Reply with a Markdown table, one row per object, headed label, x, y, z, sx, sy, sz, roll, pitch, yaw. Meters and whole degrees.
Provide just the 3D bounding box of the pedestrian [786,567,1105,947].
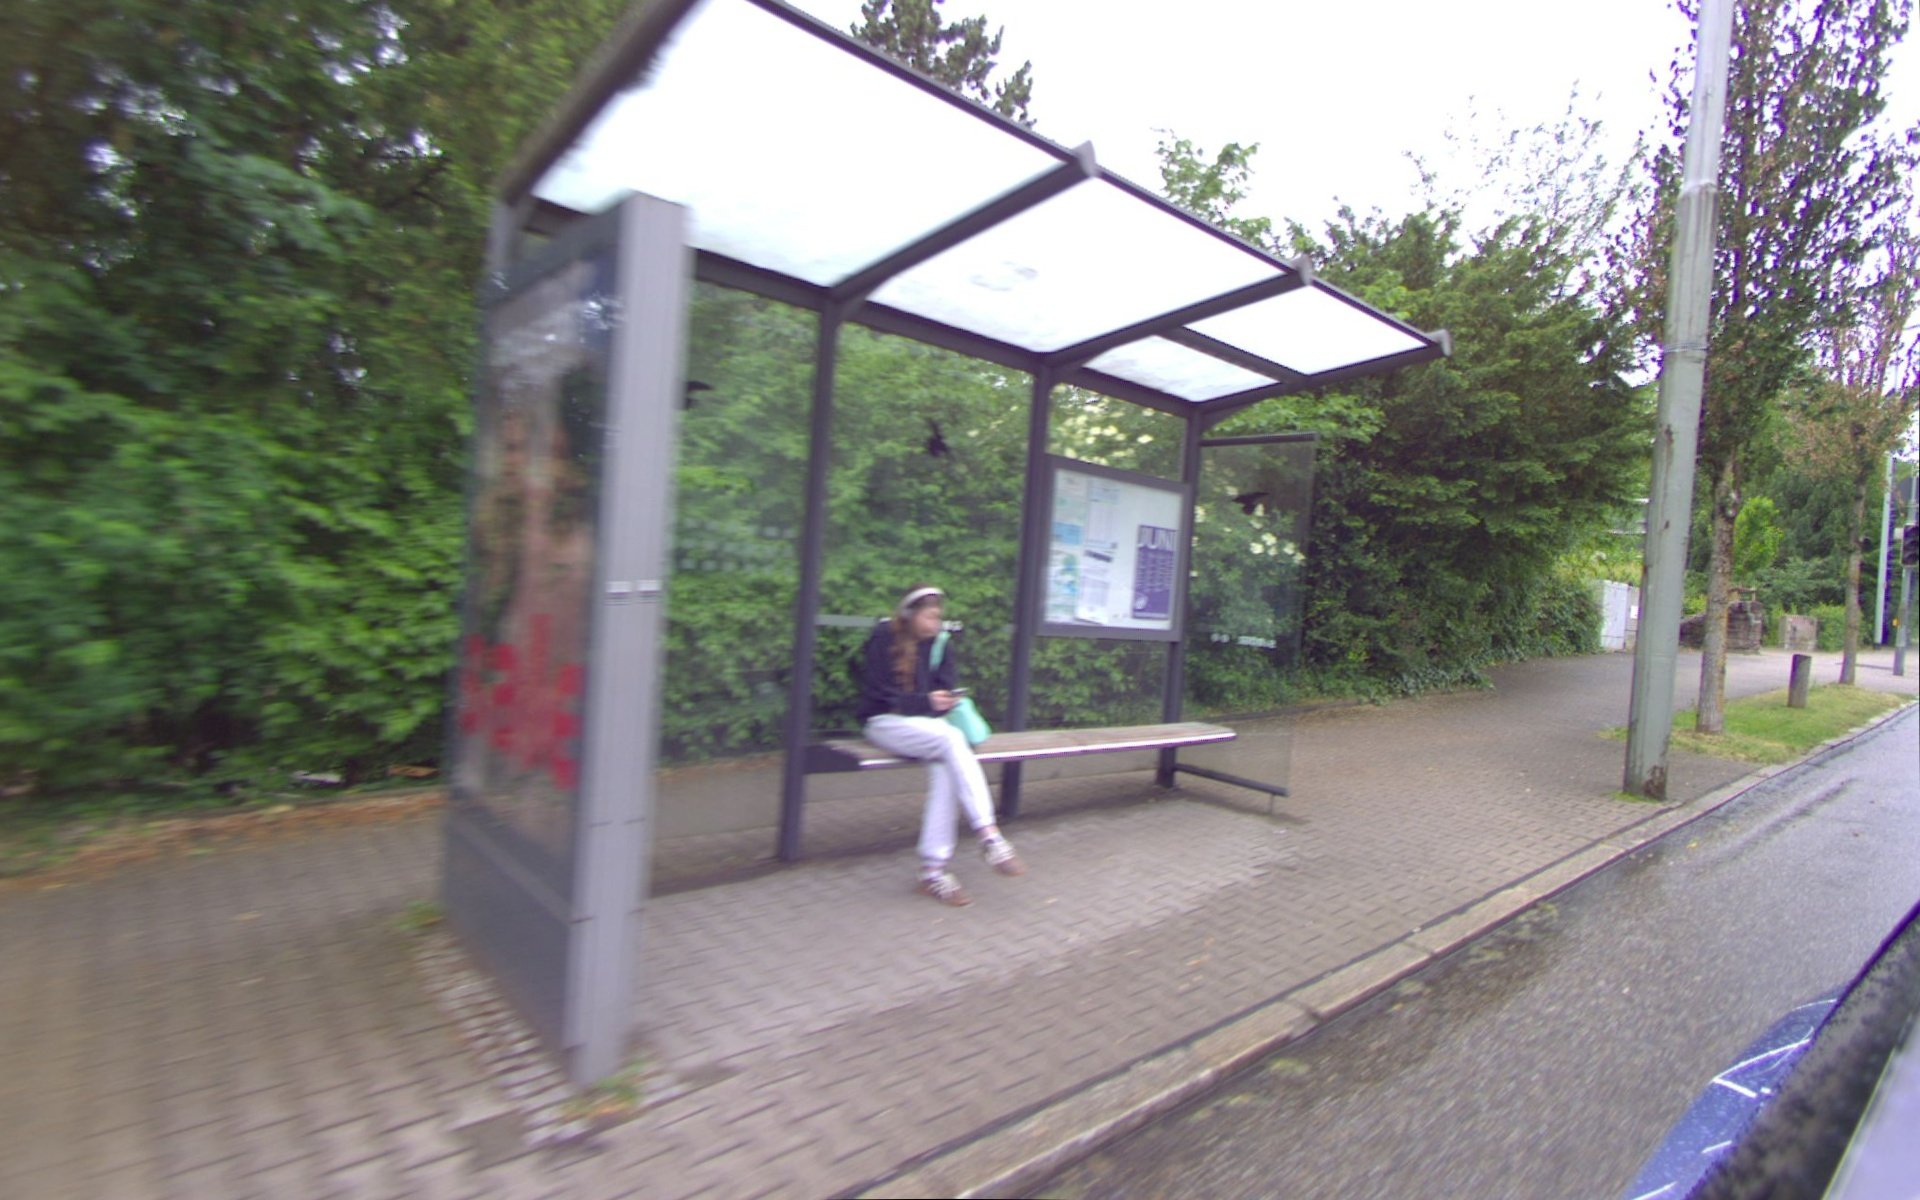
| label | x | y | z | sx | sy | sz | roll | pitch | yaw |
| --- | --- | --- | --- | --- | --- | --- | --- | --- | --- |
| pedestrian | -0.100 | 0.582 | 4.457 | 0.900 | 1.372 | 1.078 | 2 | 3 | -34 |
